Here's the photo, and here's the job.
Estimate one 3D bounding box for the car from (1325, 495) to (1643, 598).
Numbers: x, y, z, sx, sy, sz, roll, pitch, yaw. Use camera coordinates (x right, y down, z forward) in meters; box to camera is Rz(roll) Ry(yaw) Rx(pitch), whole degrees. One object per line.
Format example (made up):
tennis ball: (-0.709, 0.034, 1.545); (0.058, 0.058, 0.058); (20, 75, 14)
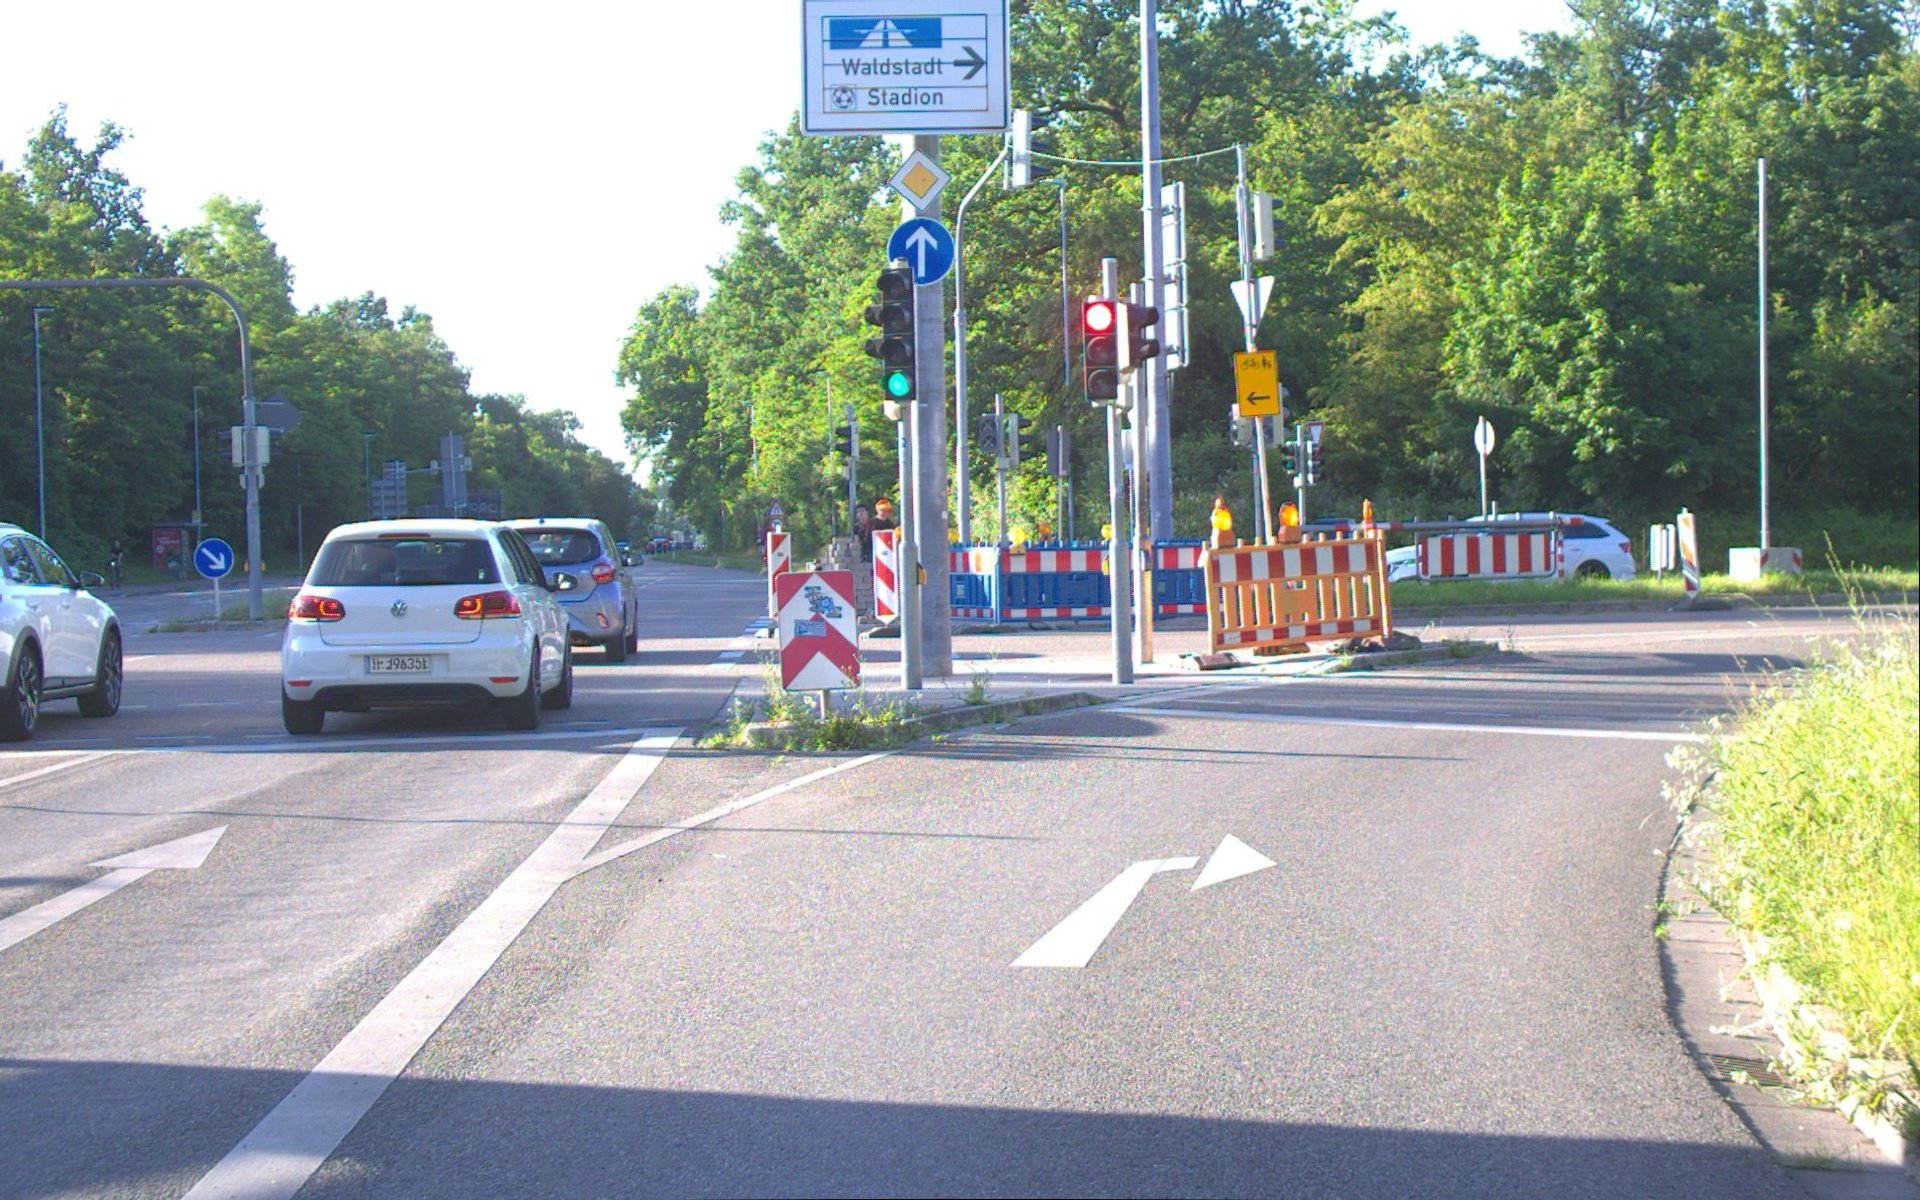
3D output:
car: (8.615, -0.891, 56.516); (4.816, 1.575, 2.000); (-2, 1, -23)

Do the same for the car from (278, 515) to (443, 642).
car: (-8.488, -0.335, 49.002); (1.993, 1.679, 4.001); (-1, 1, -6)

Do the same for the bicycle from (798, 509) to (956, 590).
bicycle: (-1.431, -0.891, 59.724); (2.631, 1.378, 0.968); (-1, 2, -34)

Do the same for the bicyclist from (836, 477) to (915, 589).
bicyclist: (-1.463, -1.172, 59.707); (1.013, 1.923, 0.968); (-1, 2, -33)

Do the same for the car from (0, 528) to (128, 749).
car: (-7.268, 0.217, 24.385); (1.863, 1.439, 4.001); (0, 1, -2)

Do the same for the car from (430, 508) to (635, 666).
car: (-4.461, -0.171, 36.265); (1.993, 1.531, 4.001); (-1, 1, -6)

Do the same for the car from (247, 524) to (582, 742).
car: (-3.860, 0.177, 24.959); (1.940, 1.409, 4.001); (-1, 1, -3)
